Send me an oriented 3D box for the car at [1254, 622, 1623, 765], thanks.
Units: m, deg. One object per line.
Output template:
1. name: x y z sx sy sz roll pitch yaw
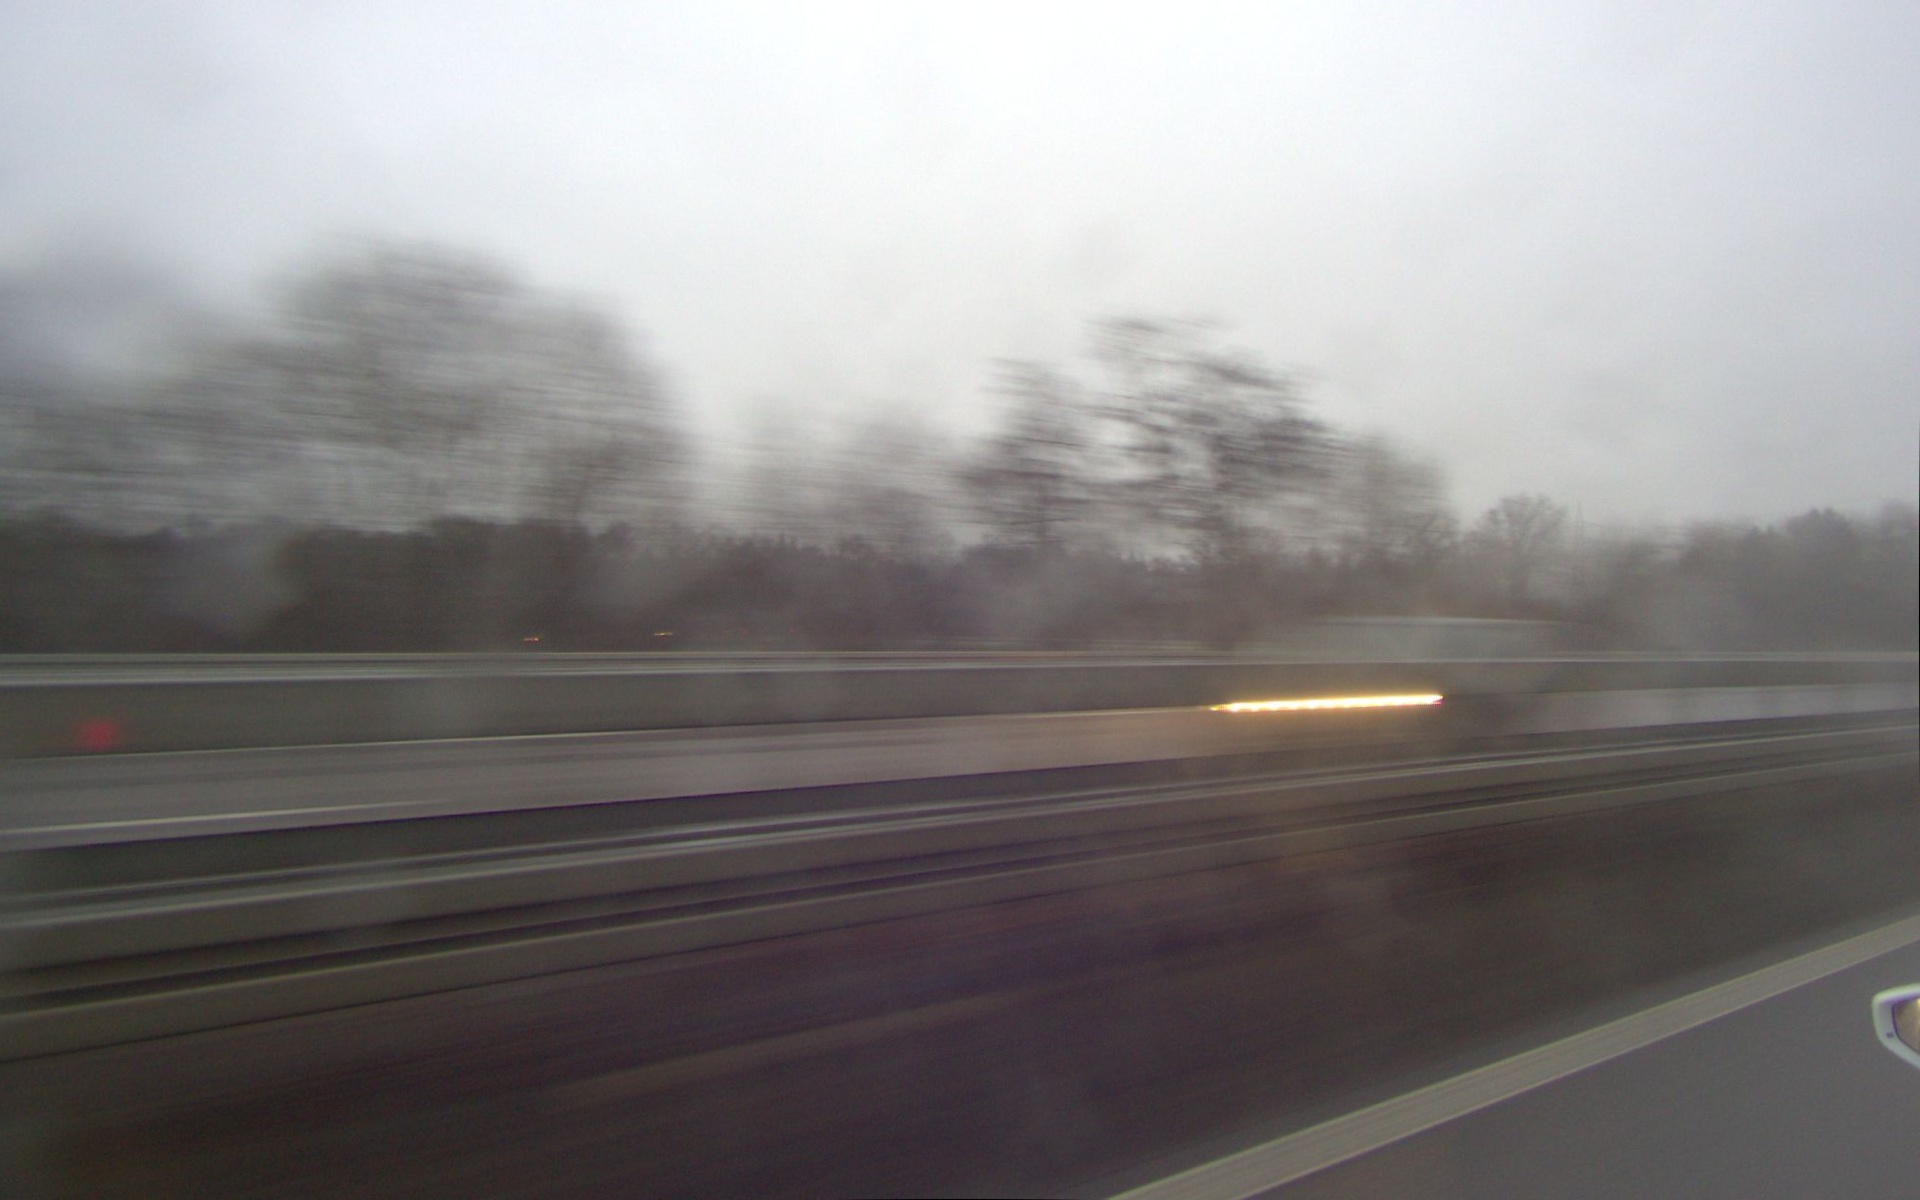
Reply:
1. car: 5.831 1.113 12.121 4.376 1.440 1.869 1 -8 -32
